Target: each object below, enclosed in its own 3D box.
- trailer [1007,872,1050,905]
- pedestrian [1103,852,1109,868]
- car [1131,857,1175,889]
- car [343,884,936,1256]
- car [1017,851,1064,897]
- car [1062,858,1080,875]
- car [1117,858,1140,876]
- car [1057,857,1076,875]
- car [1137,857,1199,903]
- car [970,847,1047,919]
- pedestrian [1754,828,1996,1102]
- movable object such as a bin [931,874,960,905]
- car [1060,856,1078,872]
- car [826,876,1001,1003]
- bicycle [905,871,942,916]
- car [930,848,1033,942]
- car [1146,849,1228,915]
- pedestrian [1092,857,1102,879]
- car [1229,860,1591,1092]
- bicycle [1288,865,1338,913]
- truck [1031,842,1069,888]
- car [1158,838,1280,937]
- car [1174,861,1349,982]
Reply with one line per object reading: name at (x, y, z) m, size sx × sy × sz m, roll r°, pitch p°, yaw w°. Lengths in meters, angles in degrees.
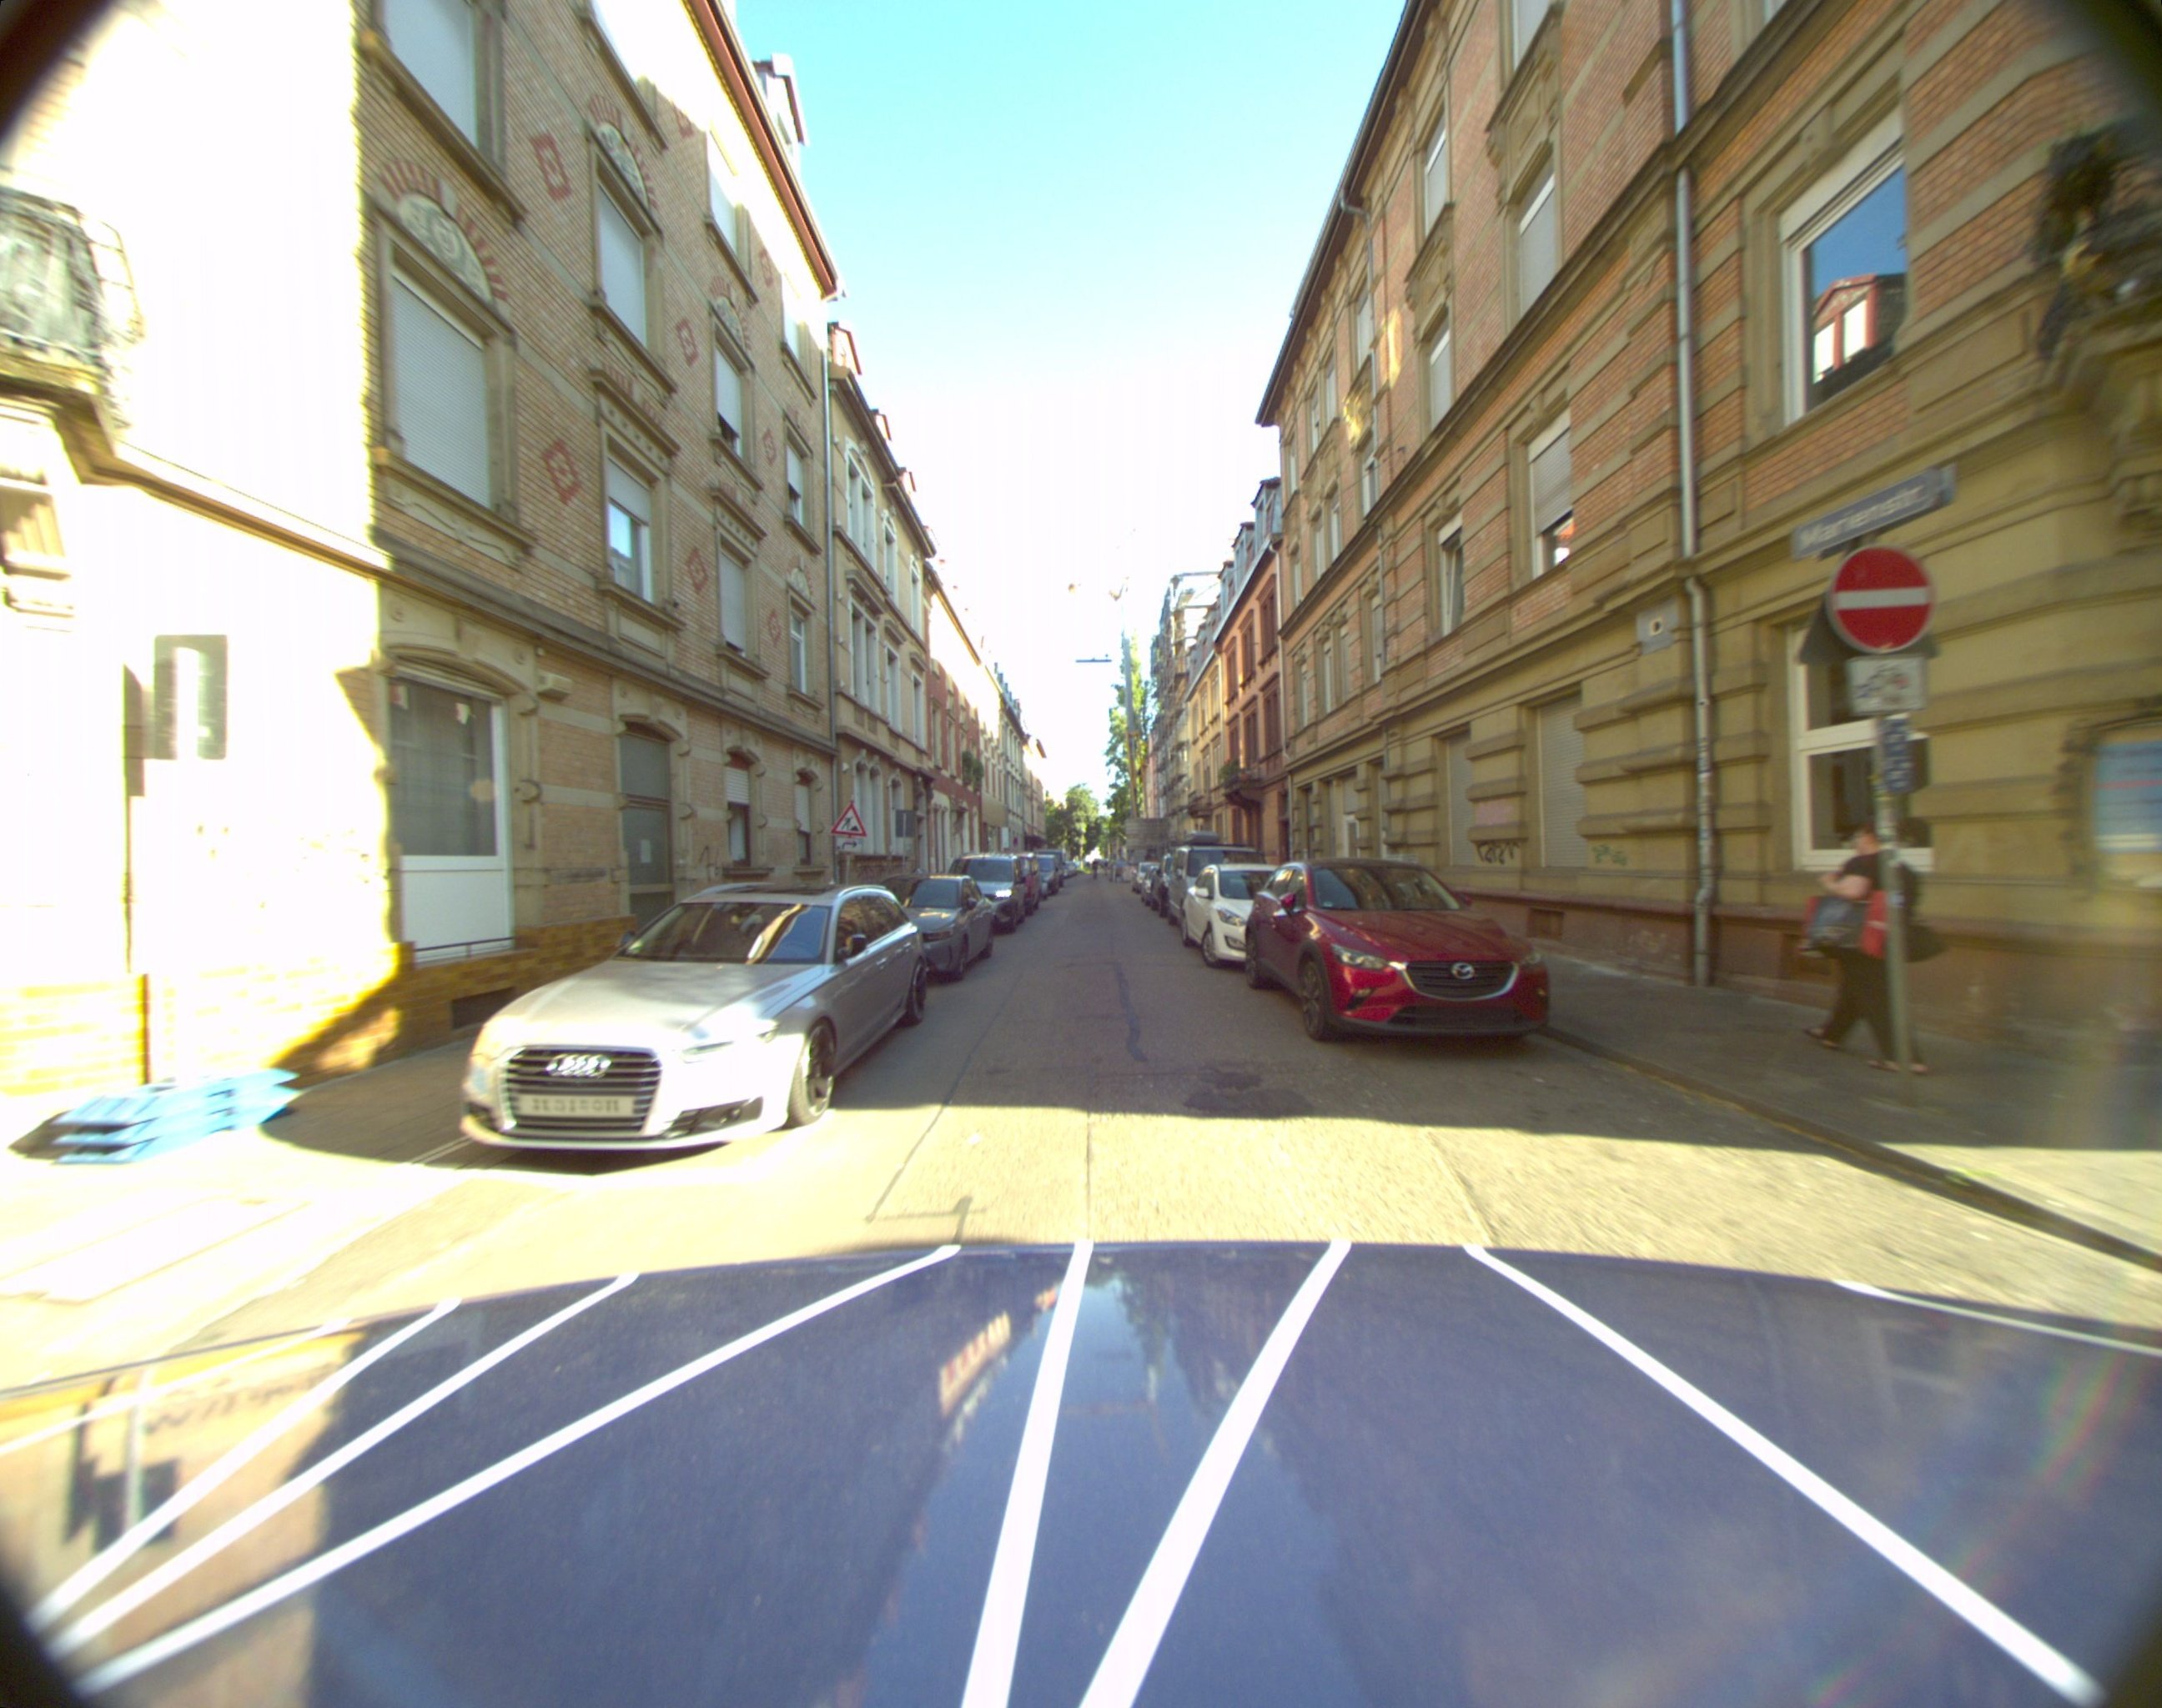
trailer at (-2.181, 1.410, 32.108) m, size 1.508 × 1.106 × 3.039 m, roll -6°, pitch 0°, yaw -1°
pedestrian at (2.508, 0.630, 76.995) m, size 0.594 × 1.634 × 0.813 m, roll -1°, pitch 0°, yaw 1°
car at (3.321, 0.849, 35.816) m, size 1.678 × 1.410 × 4.000 m, roll -1°, pitch 0°, yaw 0°
car at (-2.490, 1.100, 5.792) m, size 1.710 × 1.450 × 4.511 m, roll -4°, pitch 0°, yaw 1°
car at (-1.899, 0.922, 37.150) m, size 1.849 × 1.972 × 4.576 m, roll -5°, pitch 0°, yaw 1°
car at (-0.924, 1.139, 70.617) m, size 1.525 × 1.525 × 3.463 m, roll 3°, pitch 0°, yaw 1°
car at (4.167, 1.149, 67.264) m, size 1.771 × 1.500 × 4.696 m, roll -2°, pitch 0°, yaw 1°
car at (-1.433, 1.147, 75.090) m, size 1.603 × 1.652 × 4.060 m, roll -5°, pitch 0°, yaw 1°
car at (3.029, 0.866, 27.039) m, size 1.703 × 1.306 × 4.000 m, roll -6°, pitch 0°, yaw 1°
car at (-2.234, 0.860, 24.690) m, size 1.836 × 2.002 × 4.742 m, roll -4°, pitch 0°, yaw 1°
pedestrian at (4.989, 0.651, 4.830) m, size 0.668 × 1.571 × 0.760 m, roll -4°, pitch 1°, yaw 0°
movable object such as a bin at (-4.784, 1.241, 26.921) m, size 0.898 × 1.055 × 0.722 m, roll 0°, pitch 0°, yaw -1°
car at (-1.225, 1.040, 80.505) m, size 1.603 × 1.626 × 3.775 m, roll -5°, pitch 0°, yaw 1°
car at (-2.342, 1.153, 11.620) m, size 1.670 × 1.470 × 3.888 m, roll -3°, pitch -1°, yaw 1°
bicycle at (-4.770, 1.182, 23.156) m, size 0.728 × 1.296 × 1.692 m, roll 1°, pitch 0°, yaw 1°
car at (-2.335, 0.905, 18.895) m, size 1.774 × 1.949 × 4.264 m, roll -4°, pitch 0°, yaw 1°
car at (2.974, 0.734, 22.144) m, size 1.792 × 1.615 × 4.608 m, roll -4°, pitch 0°, yaw 2°
pedestrian at (1.321, 1.169, 62.881) m, size 0.740 × 1.743 × 0.997 m, roll -2°, pitch 0°, yaw 2°
car at (2.693, 0.870, 7.349) m, size 1.727 × 1.472 × 4.090 m, roll -4°, pitch 0°, yaw 1°
bicycle at (5.887, 0.867, 19.380) m, size 0.668 × 1.118 × 1.785 m, roll -5°, pitch 0°, yaw 2°
truck at (-1.889, 0.670, 47.983) m, size 2.154 × 2.642 × 6.252 m, roll 2°, pitch 0°, yaw -1°
car at (2.904, 0.647, 16.984) m, size 1.897 × 1.774 × 4.608 m, roll -4°, pitch 0°, yaw 2°
car at (2.574, 0.895, 11.775) m, size 1.678 × 1.412 × 3.874 m, roll -4°, pitch 0°, yaw 0°
